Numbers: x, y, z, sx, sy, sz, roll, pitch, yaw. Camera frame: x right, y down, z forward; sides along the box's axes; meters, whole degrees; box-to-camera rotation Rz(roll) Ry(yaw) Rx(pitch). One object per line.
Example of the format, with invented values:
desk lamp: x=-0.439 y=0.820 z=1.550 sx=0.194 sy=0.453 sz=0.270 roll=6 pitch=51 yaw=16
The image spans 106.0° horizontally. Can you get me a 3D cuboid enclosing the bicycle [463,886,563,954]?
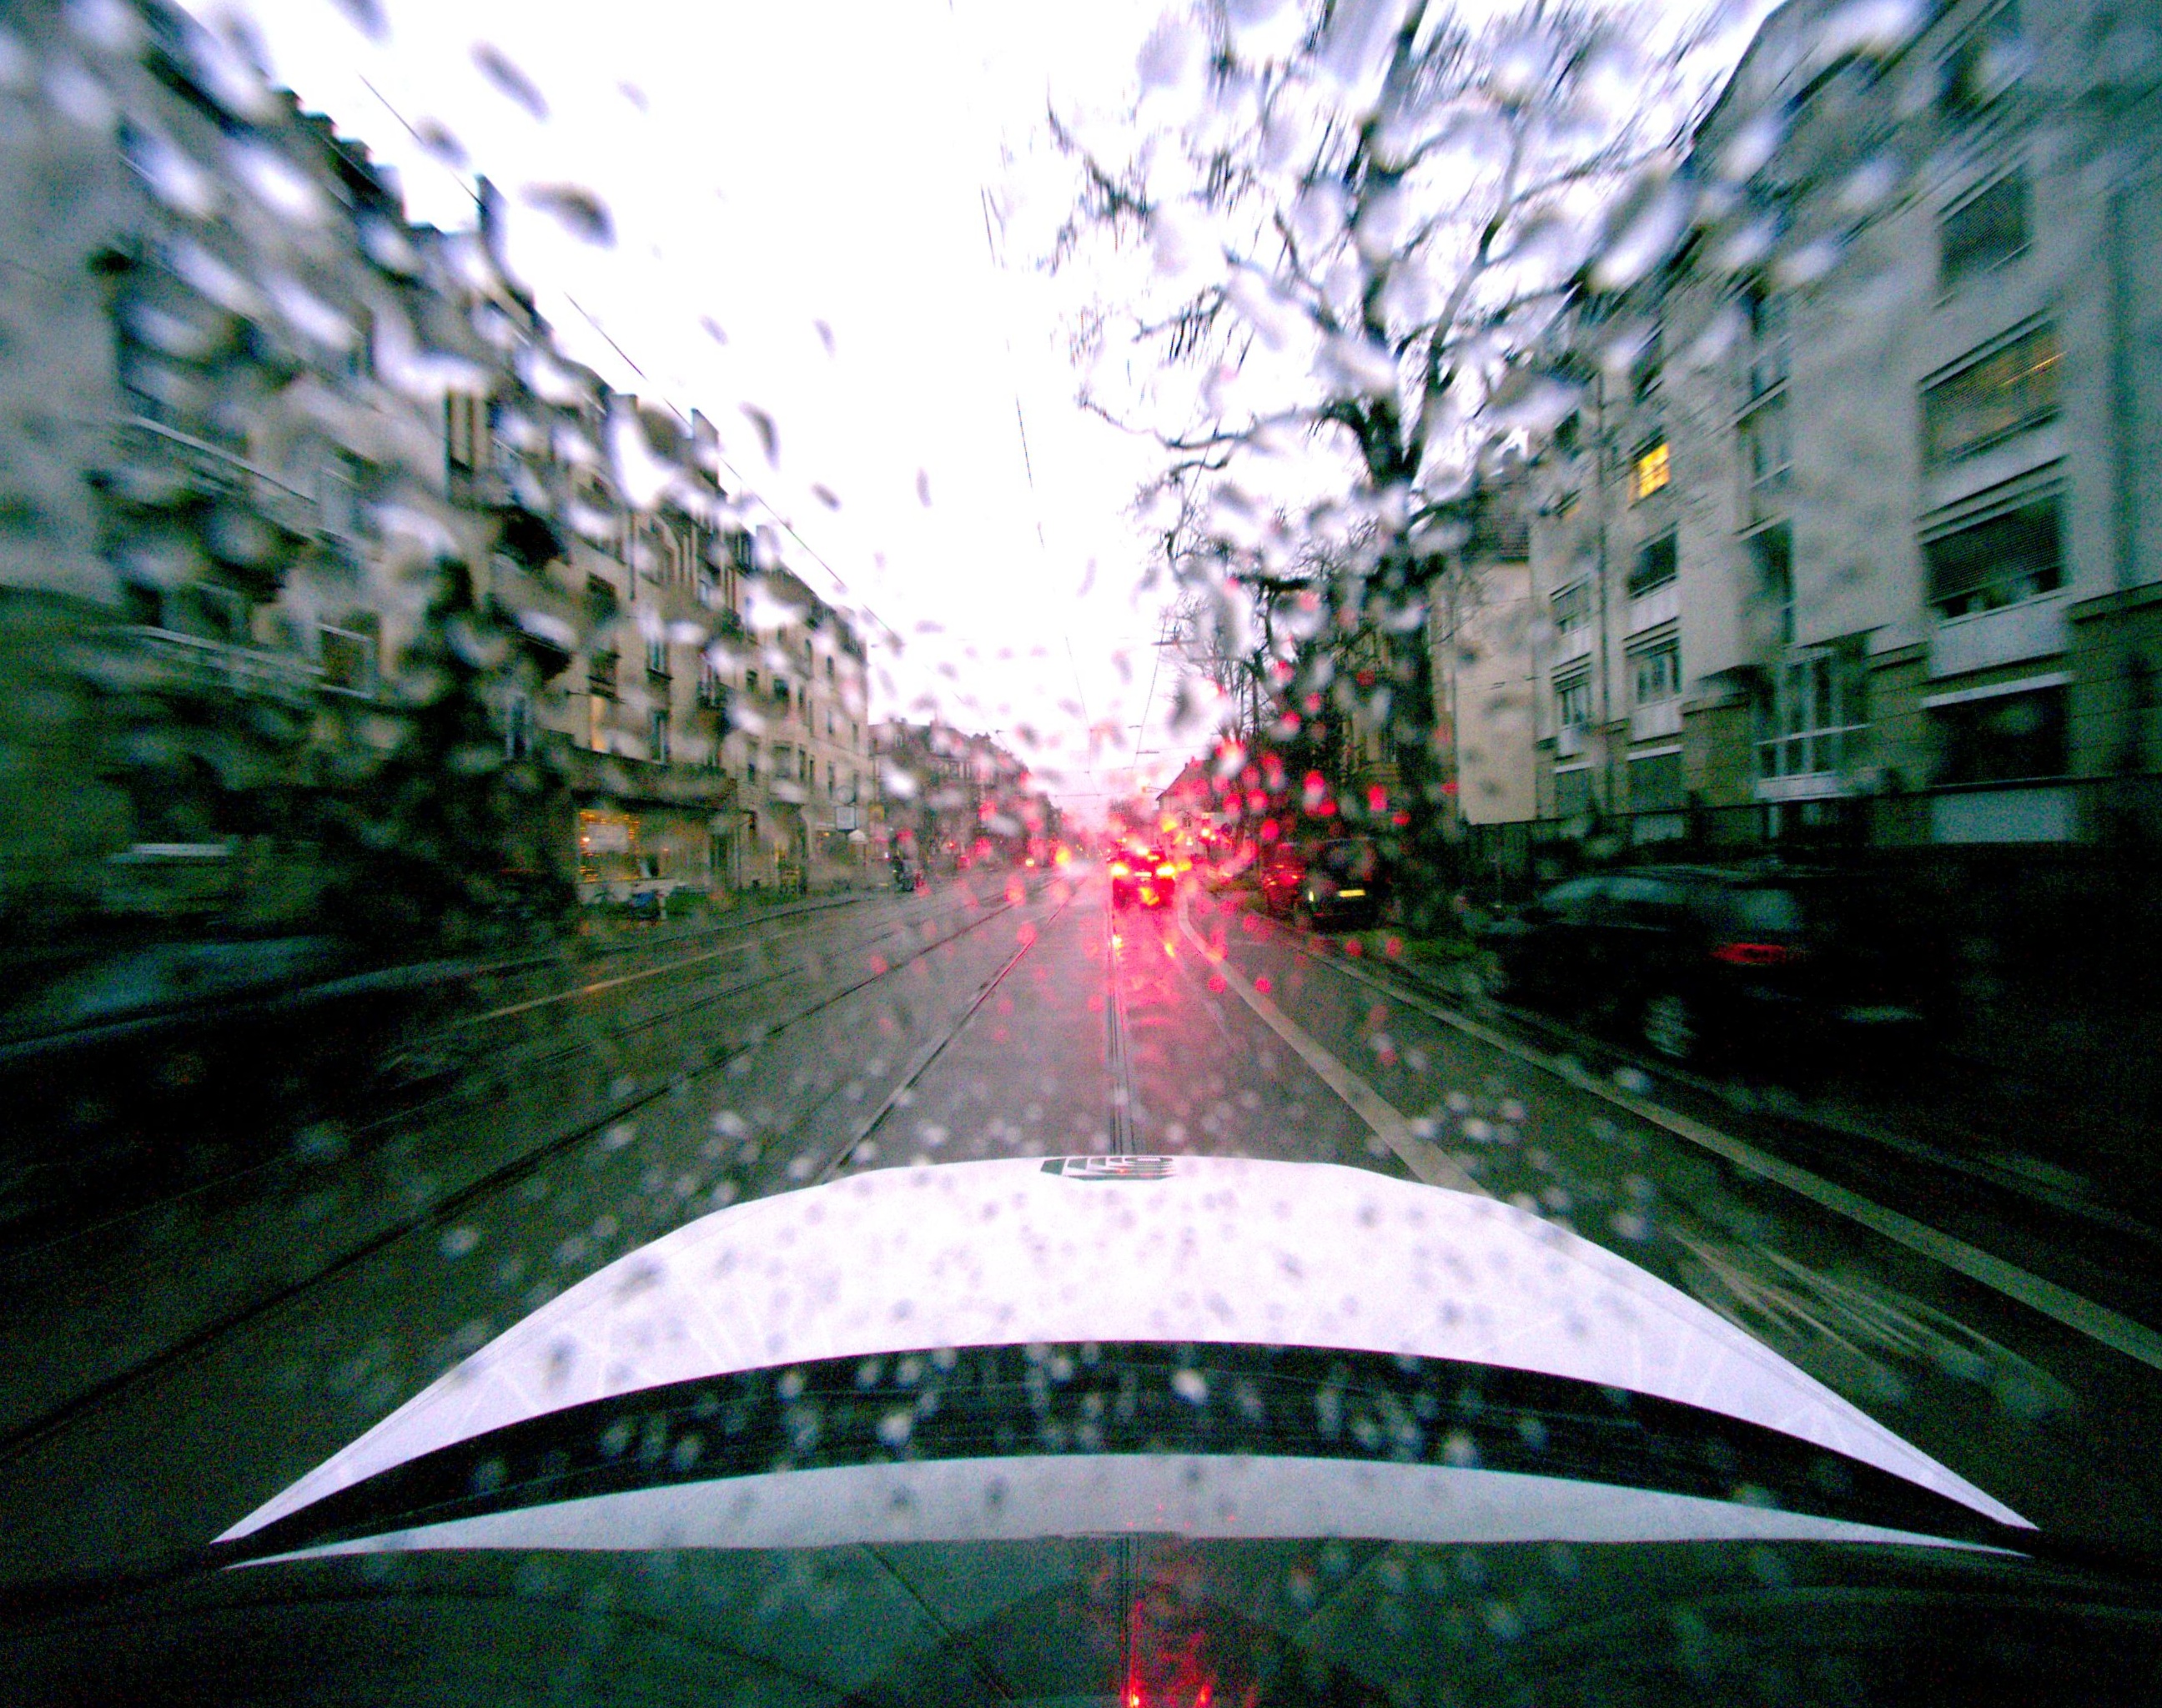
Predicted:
bicycle: x=-10.518 y=1.193 z=15.155 sx=0.613 sy=1.080 sz=1.809 roll=-2 pitch=1 yaw=-3

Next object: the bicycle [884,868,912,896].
bicycle: x=-8.137 y=1.238 z=36.298 sx=0.714 sy=1.110 sz=2.065 roll=-2 pitch=1 yaw=1

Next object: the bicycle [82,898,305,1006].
bicycle: x=-10.448 y=1.107 z=9.701 sx=0.623 sy=1.017 sz=1.805 roll=-3 pitch=0 yaw=0

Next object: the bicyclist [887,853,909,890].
bicyclist: x=-8.158 y=0.759 z=36.353 sx=0.714 sy=1.602 sz=0.931 roll=-2 pitch=1 yaw=0

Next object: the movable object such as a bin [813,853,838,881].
movable object such as a bin: x=-14.930 y=0.757 z=47.563 sx=1.009 sy=1.600 sz=1.082 roll=-2 pitch=1 yaw=4

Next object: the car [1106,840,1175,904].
car: x=1.835 y=0.569 z=26.504 sx=1.986 sy=1.897 sz=4.759 roll=0 pitch=-1 yaw=1

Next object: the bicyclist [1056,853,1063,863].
bicyclist: x=-3.035 y=0.549 z=113.567 sx=0.823 sy=1.376 sz=0.555 roll=-2 pitch=1 yaw=-12

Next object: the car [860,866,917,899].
car: x=-9.840 y=1.452 z=42.027 sx=1.826 sy=1.447 sz=4.002 roll=-2 pitch=1 yaw=2

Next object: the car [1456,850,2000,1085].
car: x=5.113 y=0.721 z=7.283 sx=1.671 sy=1.460 sz=4.043 roll=-2 pitch=0 yaw=1

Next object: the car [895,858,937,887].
car: x=-9.805 y=1.072 z=48.626 sx=1.623 sy=1.550 sz=3.501 roll=-2 pitch=1 yaw=2

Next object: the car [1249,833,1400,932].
car: x=5.376 y=0.531 z=18.761 sx=1.986 sy=1.900 sz=5.028 roll=-2 pitch=1 yaw=1

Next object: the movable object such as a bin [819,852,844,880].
movable object such as a bin: x=-14.958 y=0.685 z=48.773 sx=1.009 sy=1.600 sz=1.156 roll=-2 pitch=1 yaw=4

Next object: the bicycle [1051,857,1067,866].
bicycle: x=-3.085 y=1.045 z=113.554 sx=2.106 sy=1.133 sz=0.555 roll=-2 pitch=1 yaw=-13

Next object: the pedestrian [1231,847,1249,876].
pedestrian: x=11.310 y=0.544 z=57.833 sx=1.019 sy=2.013 sz=0.919 roll=-2 pitch=1 yaw=-2

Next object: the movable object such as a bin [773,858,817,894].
movable object such as a bin: x=-12.815 y=0.973 z=36.521 sx=1.404 sy=1.530 sz=1.365 roll=-2 pitch=1 yaw=1

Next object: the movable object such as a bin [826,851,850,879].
movable object such as a bin: x=-14.897 y=0.667 z=49.985 sx=1.009 sy=1.600 sz=1.082 roll=-2 pitch=1 yaw=4

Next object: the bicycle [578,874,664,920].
bicycle: x=-11.859 y=1.095 z=21.034 sx=1.802 sy=1.080 sz=0.615 roll=-2 pitch=1 yaw=-6

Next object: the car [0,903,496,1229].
car: x=-5.365 y=1.002 z=4.338 sx=1.655 sy=1.198 sz=3.874 roll=-2 pitch=0 yaw=0
